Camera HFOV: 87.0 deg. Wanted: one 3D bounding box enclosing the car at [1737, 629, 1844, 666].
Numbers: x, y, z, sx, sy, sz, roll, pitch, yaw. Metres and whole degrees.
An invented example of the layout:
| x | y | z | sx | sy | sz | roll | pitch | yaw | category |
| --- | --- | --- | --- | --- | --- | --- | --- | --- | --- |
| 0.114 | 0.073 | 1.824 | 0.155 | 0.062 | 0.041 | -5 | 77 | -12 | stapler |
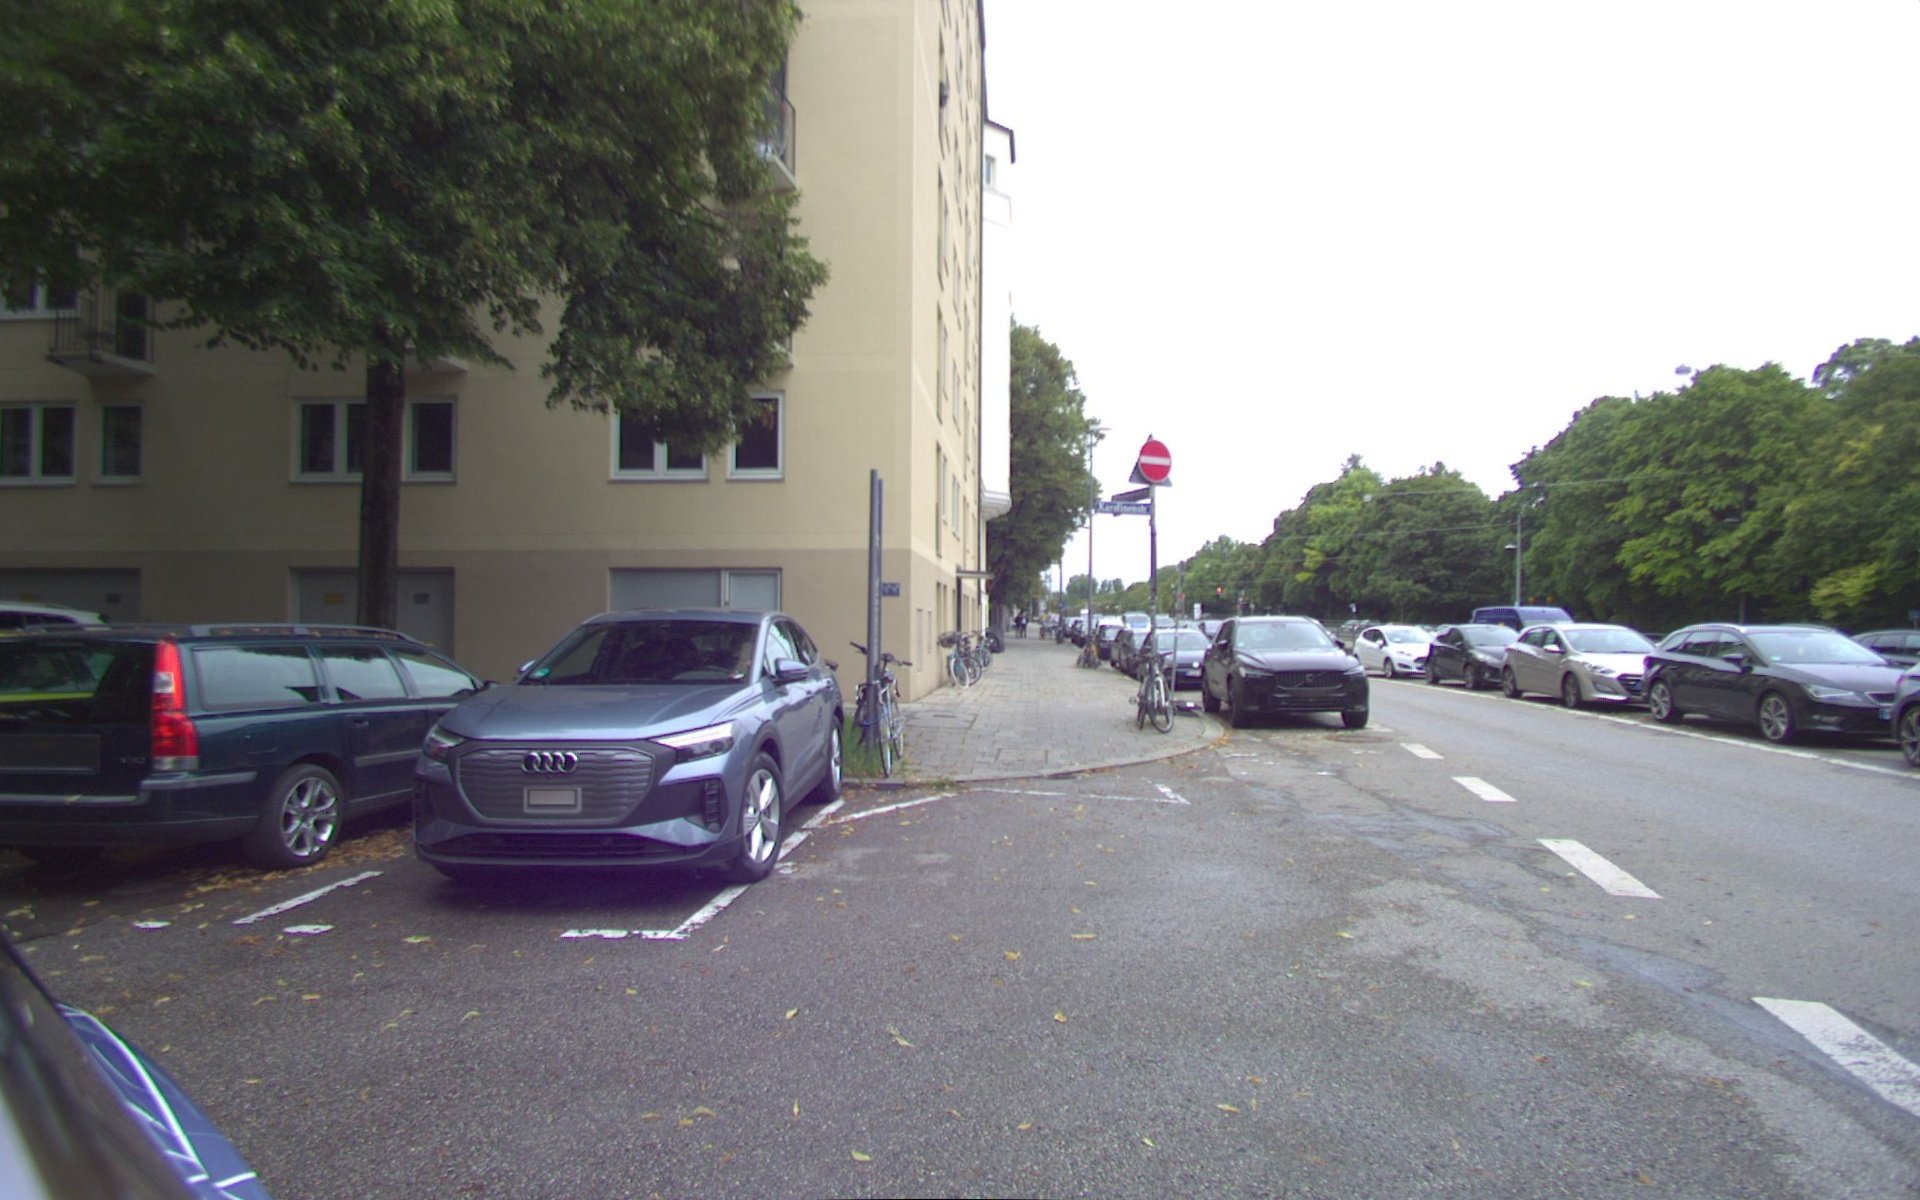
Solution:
| x | y | z | sx | sy | sz | roll | pitch | yaw | category |
| --- | --- | --- | --- | --- | --- | --- | --- | --- | --- |
| 38.849 | 2.189 | 47.462 | 1.888 | 1.569 | 3.994 | 0 | -1 | 5 | car |

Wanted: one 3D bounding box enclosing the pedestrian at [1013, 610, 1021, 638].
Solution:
| x | y | z | sx | sy | sz | roll | pitch | yaw | category |
| --- | --- | --- | --- | --- | --- | --- | --- | --- | --- |
| 4.095 | 1.754 | 73.078 | 0.450 | 2.029 | 0.620 | 1 | -2 | -12 | pedestrian |

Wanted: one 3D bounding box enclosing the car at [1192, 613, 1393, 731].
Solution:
| x | y | z | sx | sy | sz | roll | pitch | yaw | category |
| --- | --- | --- | --- | --- | --- | --- | --- | --- | --- |
| 5.013 | 1.046 | 15.991 | 2.105 | 1.577 | 4.498 | -1 | -2 | 7 | car |

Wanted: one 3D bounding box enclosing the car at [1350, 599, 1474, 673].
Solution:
| x | y | z | sx | sy | sz | roll | pitch | yaw | category |
| --- | --- | --- | --- | --- | --- | --- | --- | --- | --- |
| 13.206 | 1.029 | 29.860 | 1.973 | 2.029 | 3.997 | 0 | -1 | 2 | car |

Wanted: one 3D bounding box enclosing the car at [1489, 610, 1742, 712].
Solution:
| x | y | z | sx | sy | sz | roll | pitch | yaw | category |
| --- | --- | --- | --- | --- | --- | --- | --- | --- | --- |
| 11.329 | 0.994 | 17.924 | 1.969 | 1.577 | 4.275 | 0 | -1 | 5 | car |

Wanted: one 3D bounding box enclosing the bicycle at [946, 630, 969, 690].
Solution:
| x | y | z | sx | sy | sz | roll | pitch | yaw | category |
| --- | --- | --- | --- | --- | --- | --- | --- | --- | --- |
| -0.057 | 1.194 | 20.546 | 0.358 | 1.180 | 1.320 | 0 | -2 | -5 | bicycle |

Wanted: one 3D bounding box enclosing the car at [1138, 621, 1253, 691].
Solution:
| x | y | z | sx | sy | sz | roll | pitch | yaw | category |
| --- | --- | --- | --- | --- | --- | --- | --- | --- | --- |
| 5.781 | 1.338 | 25.385 | 2.104 | 1.577 | 4.500 | -1 | -1 | 5 | car |

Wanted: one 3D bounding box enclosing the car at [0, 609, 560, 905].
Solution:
| x | y | z | sx | sy | sz | roll | pitch | yaw | category |
| --- | --- | --- | --- | --- | --- | --- | --- | --- | --- |
| -4.799 | 0.833 | 7.248 | 2.028 | 1.478 | 4.241 | 0 | -1 | 3 | car |

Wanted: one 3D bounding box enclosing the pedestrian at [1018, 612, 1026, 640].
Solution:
| x | y | z | sx | sy | sz | roll | pitch | yaw | category |
| --- | --- | --- | --- | --- | --- | --- | --- | --- | --- |
| 4.556 | 1.901 | 74.006 | 0.450 | 2.029 | 0.620 | 1 | -2 | -12 | pedestrian |

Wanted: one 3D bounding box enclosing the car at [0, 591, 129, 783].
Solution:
| x | y | z | sx | sy | sz | roll | pitch | yaw | category |
| --- | --- | --- | --- | --- | --- | --- | --- | --- | --- |
| -9.133 | 0.718 | 7.775 | 1.893 | 1.632 | 4.241 | 0 | -1 | 3 | car |

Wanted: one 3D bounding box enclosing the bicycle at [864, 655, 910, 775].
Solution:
| x | y | z | sx | sy | sz | roll | pitch | yaw | category |
| --- | --- | --- | --- | --- | --- | --- | --- | --- | --- |
| -0.709 | 1.098 | 10.005 | 0.278 | 1.069 | 1.237 | 0 | -2 | 4 | bicycle |

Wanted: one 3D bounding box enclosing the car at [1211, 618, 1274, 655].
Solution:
| x | y | z | sx | sy | sz | roll | pitch | yaw | category |
| --- | --- | --- | --- | --- | --- | --- | --- | --- | --- |
| 14.024 | 1.799 | 50.468 | 2.048 | 1.715 | 4.555 | 0 | -1 | 3 | car |

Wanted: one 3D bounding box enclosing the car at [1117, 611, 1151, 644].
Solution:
| x | y | z | sx | sy | sz | roll | pitch | yaw | category |
| --- | --- | --- | --- | --- | --- | --- | --- | --- | --- |
| 12.443 | 1.948 | 72.632 | 1.833 | 2.227 | 4.549 | 0 | -1 | 3 | car |

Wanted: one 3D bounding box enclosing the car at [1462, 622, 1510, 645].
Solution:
| x | y | z | sx | sy | sz | roll | pitch | yaw | category |
| --- | --- | --- | --- | --- | --- | --- | --- | --- | --- |
| 40.709 | 2.571 | 78.428 | 1.844 | 1.759 | 3.993 | 0 | -1 | 5 | car |

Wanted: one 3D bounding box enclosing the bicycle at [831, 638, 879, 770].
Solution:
| x | y | z | sx | sy | sz | roll | pitch | yaw | category |
| --- | --- | --- | --- | --- | --- | --- | --- | --- | --- |
| -1.055 | 1.016 | 10.297 | 0.278 | 1.240 | 1.237 | 0 | -2 | 4 | bicycle |

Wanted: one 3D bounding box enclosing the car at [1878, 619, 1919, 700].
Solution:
| x | y | z | sx | sy | sz | roll | pitch | yaw | category |
| --- | --- | --- | --- | --- | --- | --- | --- | --- | --- |
| 19.641 | 1.137 | 18.535 | 1.899 | 1.598 | 4.814 | 0 | -1 | 10 | car |

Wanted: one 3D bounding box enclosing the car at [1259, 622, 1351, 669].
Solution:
| x | y | z | sx | sy | sz | roll | pitch | yaw | category |
| --- | --- | --- | --- | --- | --- | --- | --- | --- | --- |
| 13.417 | 1.746 | 39.700 | 2.048 | 1.715 | 5.085 | 0 | -1 | 3 | car |

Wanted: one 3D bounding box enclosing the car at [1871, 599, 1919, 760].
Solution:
| x | y | z | sx | sy | sz | roll | pitch | yaw | category |
| --- | --- | --- | --- | --- | --- | --- | --- | --- | --- |
| 10.052 | 0.738 | 8.222 | 1.972 | 1.577 | 4.267 | 0 | -1 | 11 | car |

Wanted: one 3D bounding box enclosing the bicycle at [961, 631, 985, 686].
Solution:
| x | y | z | sx | sy | sz | roll | pitch | yaw | category |
| --- | --- | --- | --- | --- | --- | --- | --- | --- | --- |
| 0.285 | 1.266 | 22.294 | 0.395 | 1.180 | 1.320 | 0 | -2 | -5 | bicycle |

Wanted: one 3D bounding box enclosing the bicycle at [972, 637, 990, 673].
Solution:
| x | y | z | sx | sy | sz | roll | pitch | yaw | category |
| --- | --- | --- | --- | --- | --- | --- | --- | --- | --- |
| 0.609 | 1.567 | 29.161 | 0.456 | 1.012 | 1.319 | 0 | -2 | -2 | bicycle |

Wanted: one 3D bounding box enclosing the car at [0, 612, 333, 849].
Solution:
| x | y | z | sx | sy | sz | roll | pitch | yaw | category |
| --- | --- | --- | --- | --- | --- | --- | --- | --- | --- |
| -6.903 | 0.839 | 7.382 | 1.893 | 1.478 | 4.241 | 0 | -1 | 3 | car |

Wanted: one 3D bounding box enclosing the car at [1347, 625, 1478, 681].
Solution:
| x | y | z | sx | sy | sz | roll | pitch | yaw | category |
| --- | --- | --- | --- | --- | --- | --- | --- | --- | --- |
| 12.737 | 1.458 | 28.825 | 1.967 | 1.467 | 4.278 | 0 | -1 | 3 | car |

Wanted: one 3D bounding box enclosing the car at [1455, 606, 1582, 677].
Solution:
| x | y | z | sx | sy | sz | roll | pitch | yaw | category |
| --- | --- | --- | --- | --- | --- | --- | --- | --- | --- |
| 20.928 | 1.465 | 38.275 | 2.165 | 2.482 | 5.838 | 0 | -1 | 8 | car |

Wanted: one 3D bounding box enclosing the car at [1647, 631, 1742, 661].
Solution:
| x | y | z | sx | sy | sz | roll | pitch | yaw | category |
| --- | --- | --- | --- | --- | --- | --- | --- | --- | --- |
| 39.185 | 2.443 | 54.143 | 1.973 | 1.457 | 4.315 | 1 | -1 | 2 | car |

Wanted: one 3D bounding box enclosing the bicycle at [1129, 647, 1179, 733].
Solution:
| x | y | z | sx | sy | sz | roll | pitch | yaw | category |
| --- | --- | --- | --- | --- | --- | --- | --- | --- | --- |
| 2.661 | 1.190 | 13.843 | 0.626 | 1.045 | 1.729 | 0 | -2 | 12 | bicycle |

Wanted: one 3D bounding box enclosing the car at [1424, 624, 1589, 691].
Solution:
| x | y | z | sx | sy | sz | roll | pitch | yaw | category |
| --- | --- | --- | --- | --- | --- | --- | --- | --- | --- |
| 12.310 | 1.237 | 23.142 | 1.746 | 1.380 | 4.275 | 0 | -1 | 5 | car |

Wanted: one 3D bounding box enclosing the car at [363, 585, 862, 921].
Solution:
| x | y | z | sx | sy | sz | roll | pitch | yaw | category |
| --- | --- | --- | --- | --- | --- | --- | --- | --- | --- |
| -1.868 | 0.766 | 6.941 | 1.802 | 1.577 | 4.241 | 0 | -1 | 3 | car |

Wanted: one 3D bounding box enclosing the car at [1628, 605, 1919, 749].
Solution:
| x | y | z | sx | sy | sz | roll | pitch | yaw | category |
| --- | --- | --- | --- | --- | --- | --- | --- | --- | --- |
| 10.884 | 0.892 | 13.158 | 1.970 | 1.577 | 4.272 | 0 | -1 | 8 | car |
